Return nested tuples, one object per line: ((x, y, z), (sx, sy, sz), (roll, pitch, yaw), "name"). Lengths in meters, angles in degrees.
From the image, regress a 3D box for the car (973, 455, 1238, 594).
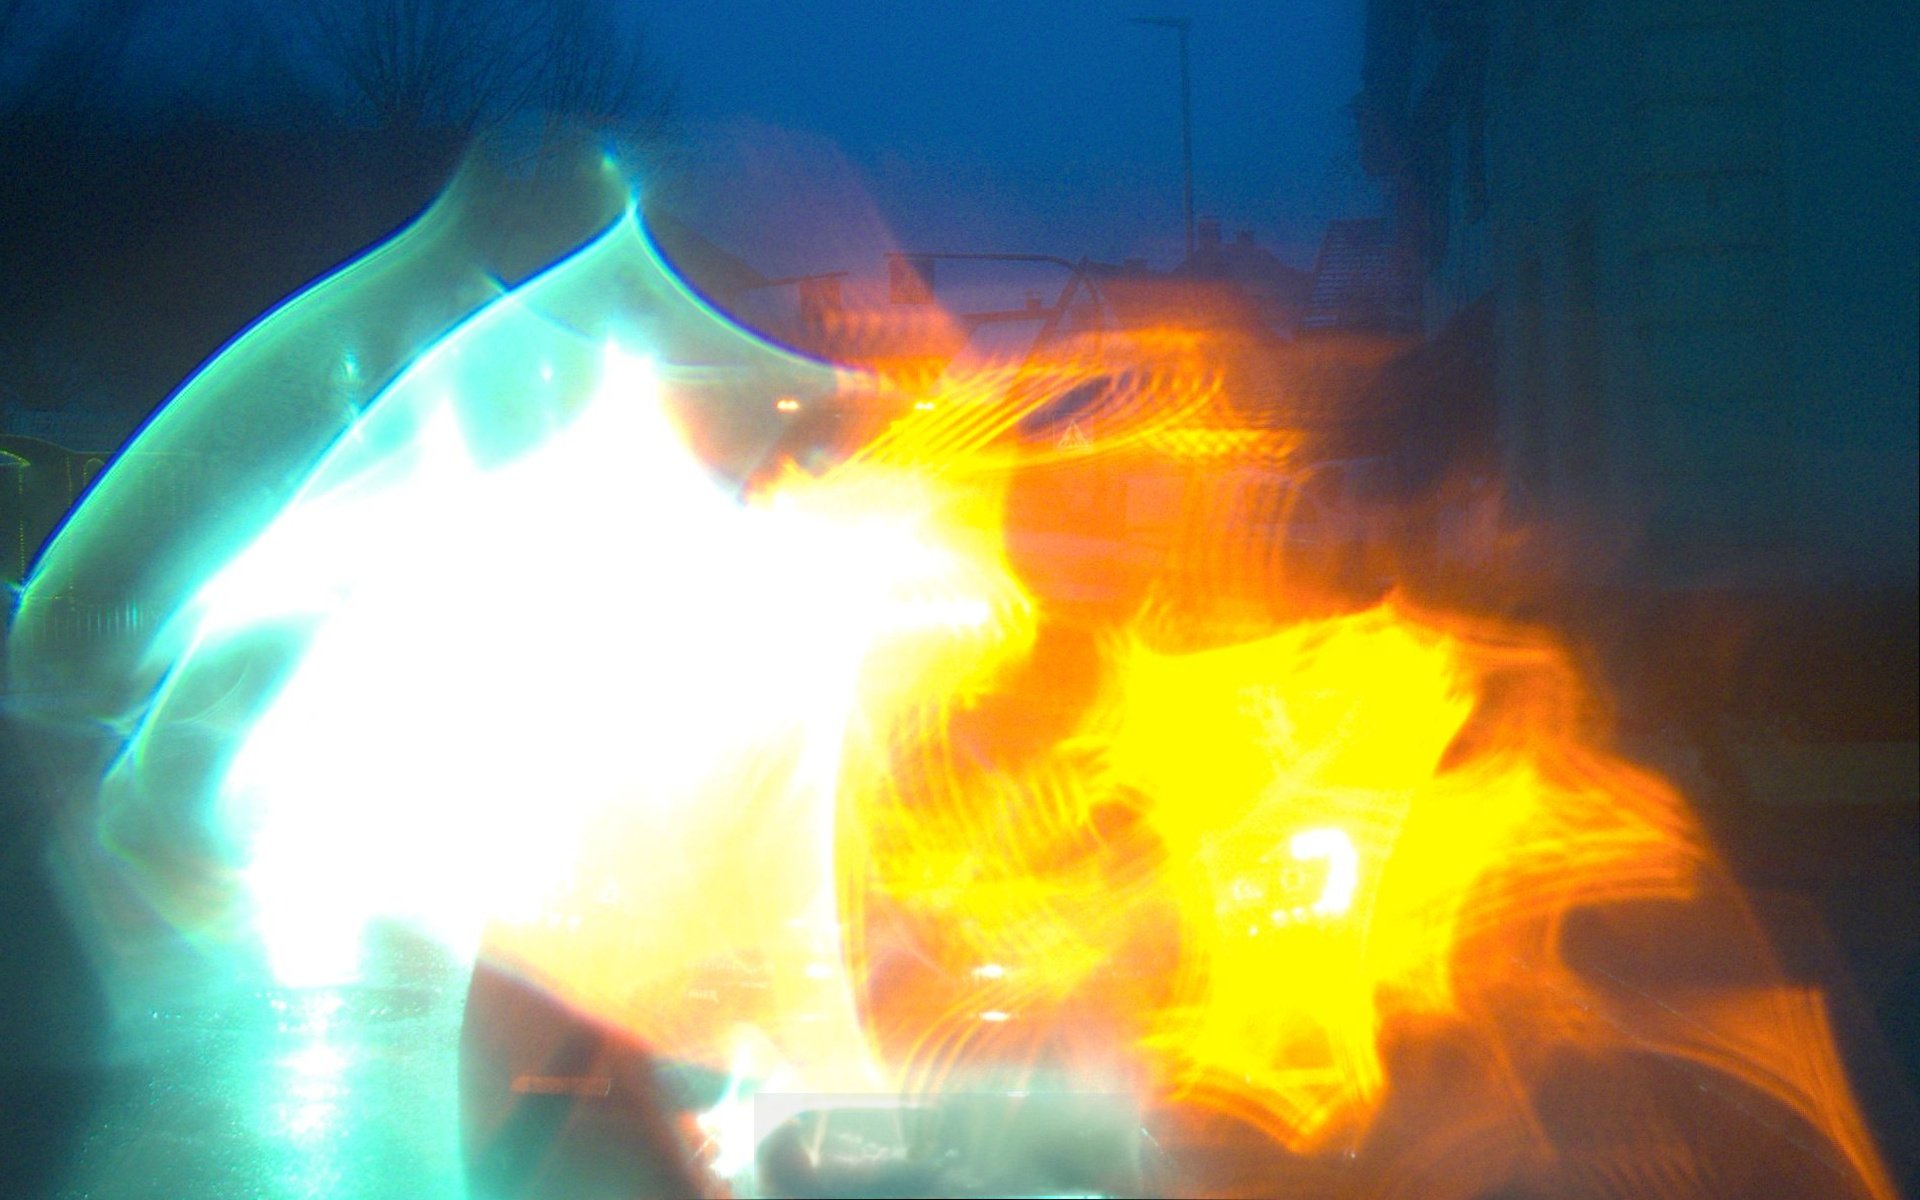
((2.373, -1.215, 55.242), (4.098, 2.144, 1.913), (-1, 2, 7), "car")

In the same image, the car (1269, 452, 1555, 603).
((6.667, -1.074, 50.908), (4.098, 2.144, 1.913), (-1, 2, 7), "car")

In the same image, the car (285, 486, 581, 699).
((-4.247, -0.125, 28.322), (1.810, 1.590, 4.400), (-1, 2, -1), "car")

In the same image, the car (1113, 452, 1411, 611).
((4.283, -0.979, 48.623), (4.098, 2.155, 1.913), (-1, 2, 7), "car")

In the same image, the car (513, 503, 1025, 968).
((-0.677, 0.388, 12.666), (1.638, 1.476, 3.272), (0, 2, -2), "car")

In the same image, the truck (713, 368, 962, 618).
((-1.814, -1.455, 47.049), (3.015, 3.118, 8.002), (0, 2, -5), "truck")

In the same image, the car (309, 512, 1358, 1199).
((-0.213, 0.564, 7.071), (1.638, 1.476, 3.379), (0, 1, -1), "car")
